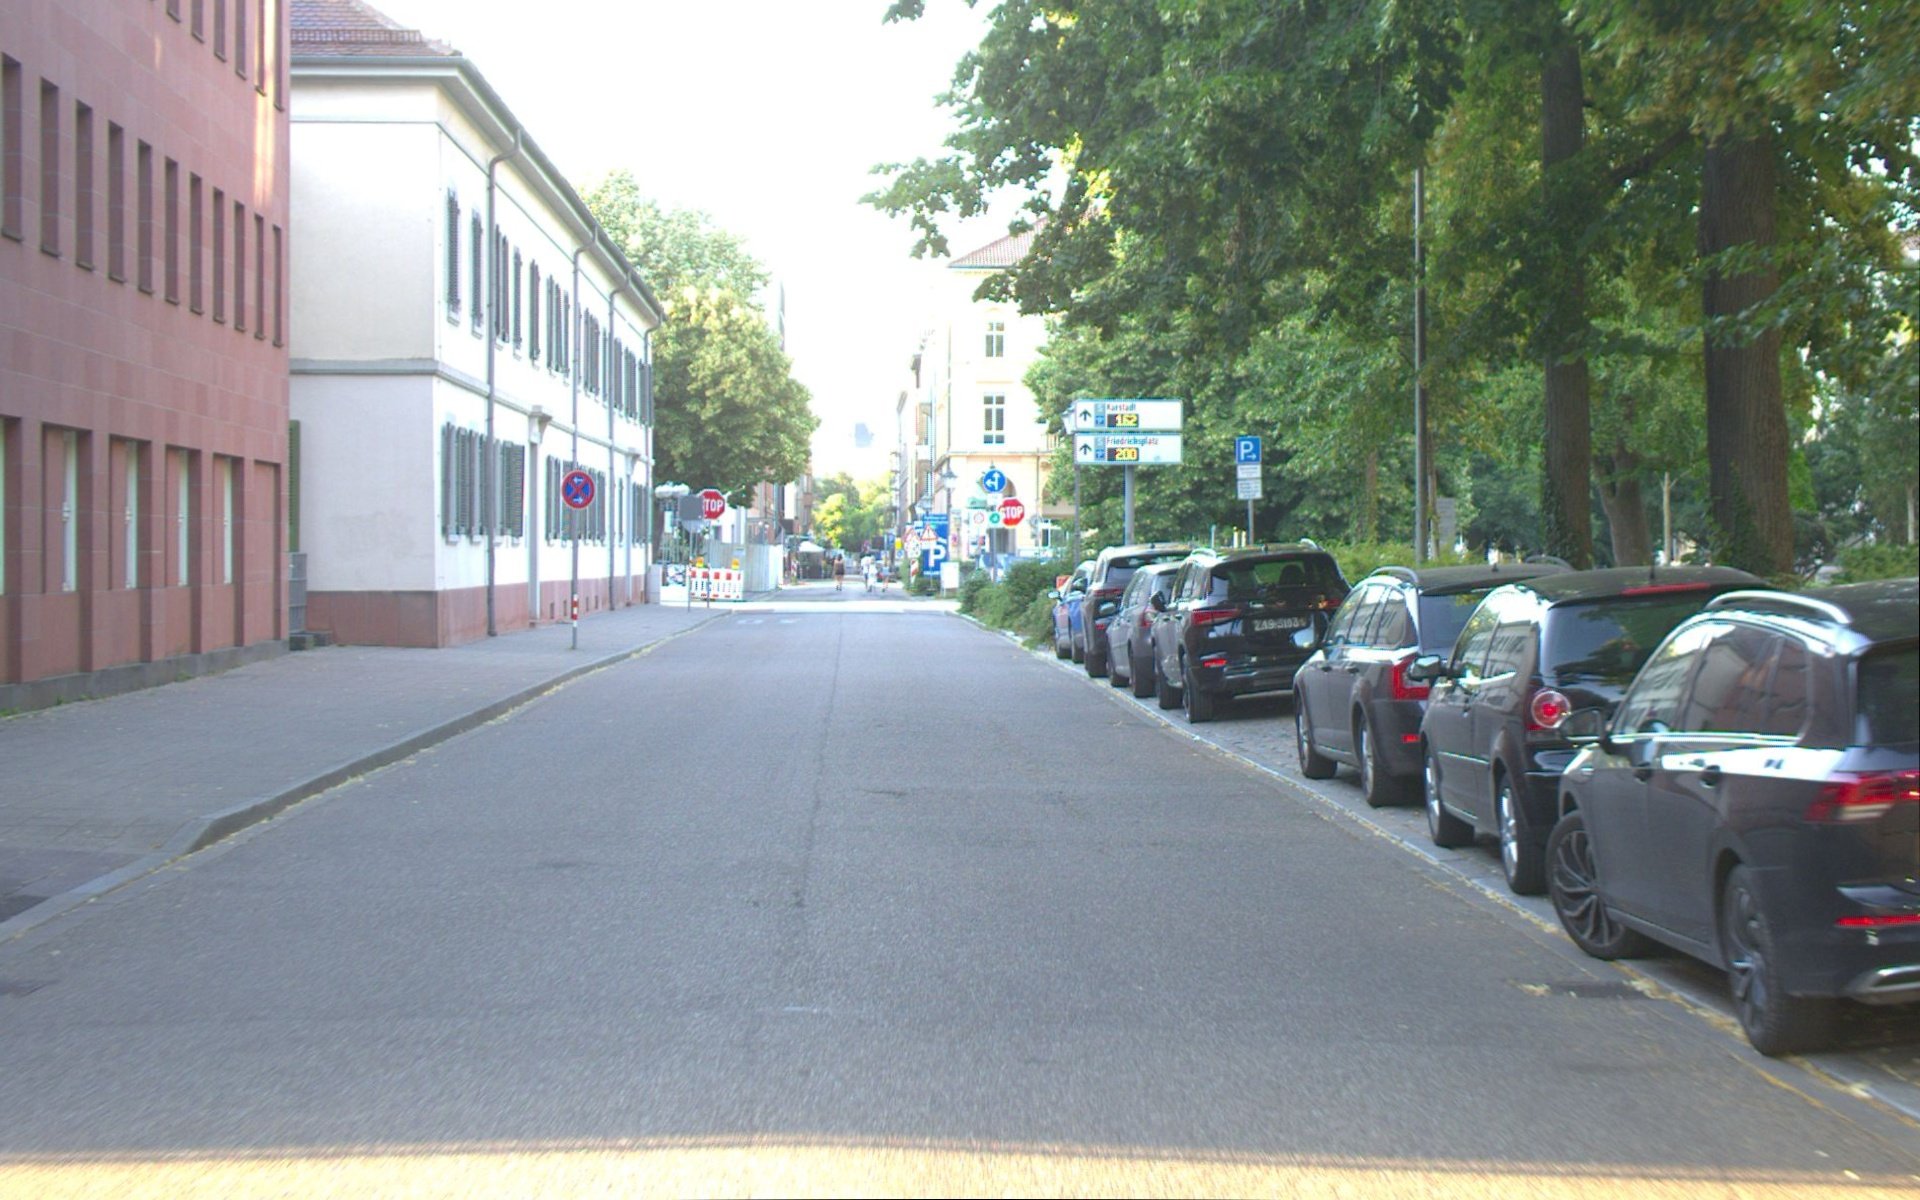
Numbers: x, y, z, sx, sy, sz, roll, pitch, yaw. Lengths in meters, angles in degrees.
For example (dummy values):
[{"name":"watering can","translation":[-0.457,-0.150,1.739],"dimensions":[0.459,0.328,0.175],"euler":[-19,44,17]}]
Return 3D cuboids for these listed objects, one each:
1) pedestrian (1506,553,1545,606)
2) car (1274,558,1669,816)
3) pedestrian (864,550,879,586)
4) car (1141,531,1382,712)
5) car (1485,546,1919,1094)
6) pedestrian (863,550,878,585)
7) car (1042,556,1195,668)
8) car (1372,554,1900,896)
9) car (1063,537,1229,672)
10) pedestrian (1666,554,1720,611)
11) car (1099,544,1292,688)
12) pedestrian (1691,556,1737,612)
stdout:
[{"name":"pedestrian","translation":[12.935,-0.472,78.608],"dimensions":[0.663,1.187,0.794],"euler":[0,0,26]},{"name":"car","translation":[3.214,0.511,22.459],"dimensions":[1.734,1.501,4.522],"euler":[0,0,-2]},{"name":"pedestrian","translation":[-3.976,-1.458,154.870],"dimensions":[0.657,1.611,0.745],"euler":[0,0,-1]},{"name":"car","translation":[2.895,0.198,33.867],"dimensions":[1.807,1.646,4.419],"euler":[0,0,-2]},{"name":"car","translation":[3.236,0.606,12.317],"dimensions":[1.724,1.528,4.623],"euler":[-5,0,-2]},{"name":"pedestrian","translation":[-4.075,-1.480,156.810],"dimensions":[0.657,1.630,0.745],"euler":[0,0,-1]},{"name":"car","translation":[2.300,0.149,50.970],"dimensions":[1.724,1.483,4.611],"euler":[-4,1,-3]},{"name":"car","translation":[3.308,0.564,17.629],"dimensions":[1.724,1.528,4.190],"euler":[0,0,-2]},{"name":"car","translation":[2.367,0.058,44.804],"dimensions":[1.724,1.646,4.713],"euler":[0,0,-2]},{"name":"pedestrian","translation":[17.303,-0.409,81.142],"dimensions":[0.916,1.343,0.885],"euler":[0,0,-17]},{"name":"car","translation":[2.607,0.170,38.890],"dimensions":[1.724,1.533,4.190],"euler":[0,0,-2]},{"name":"pedestrian","translation":[17.938,-0.382,81.792],"dimensions":[0.758,1.343,0.788],"euler":[0,0,-18]}]
